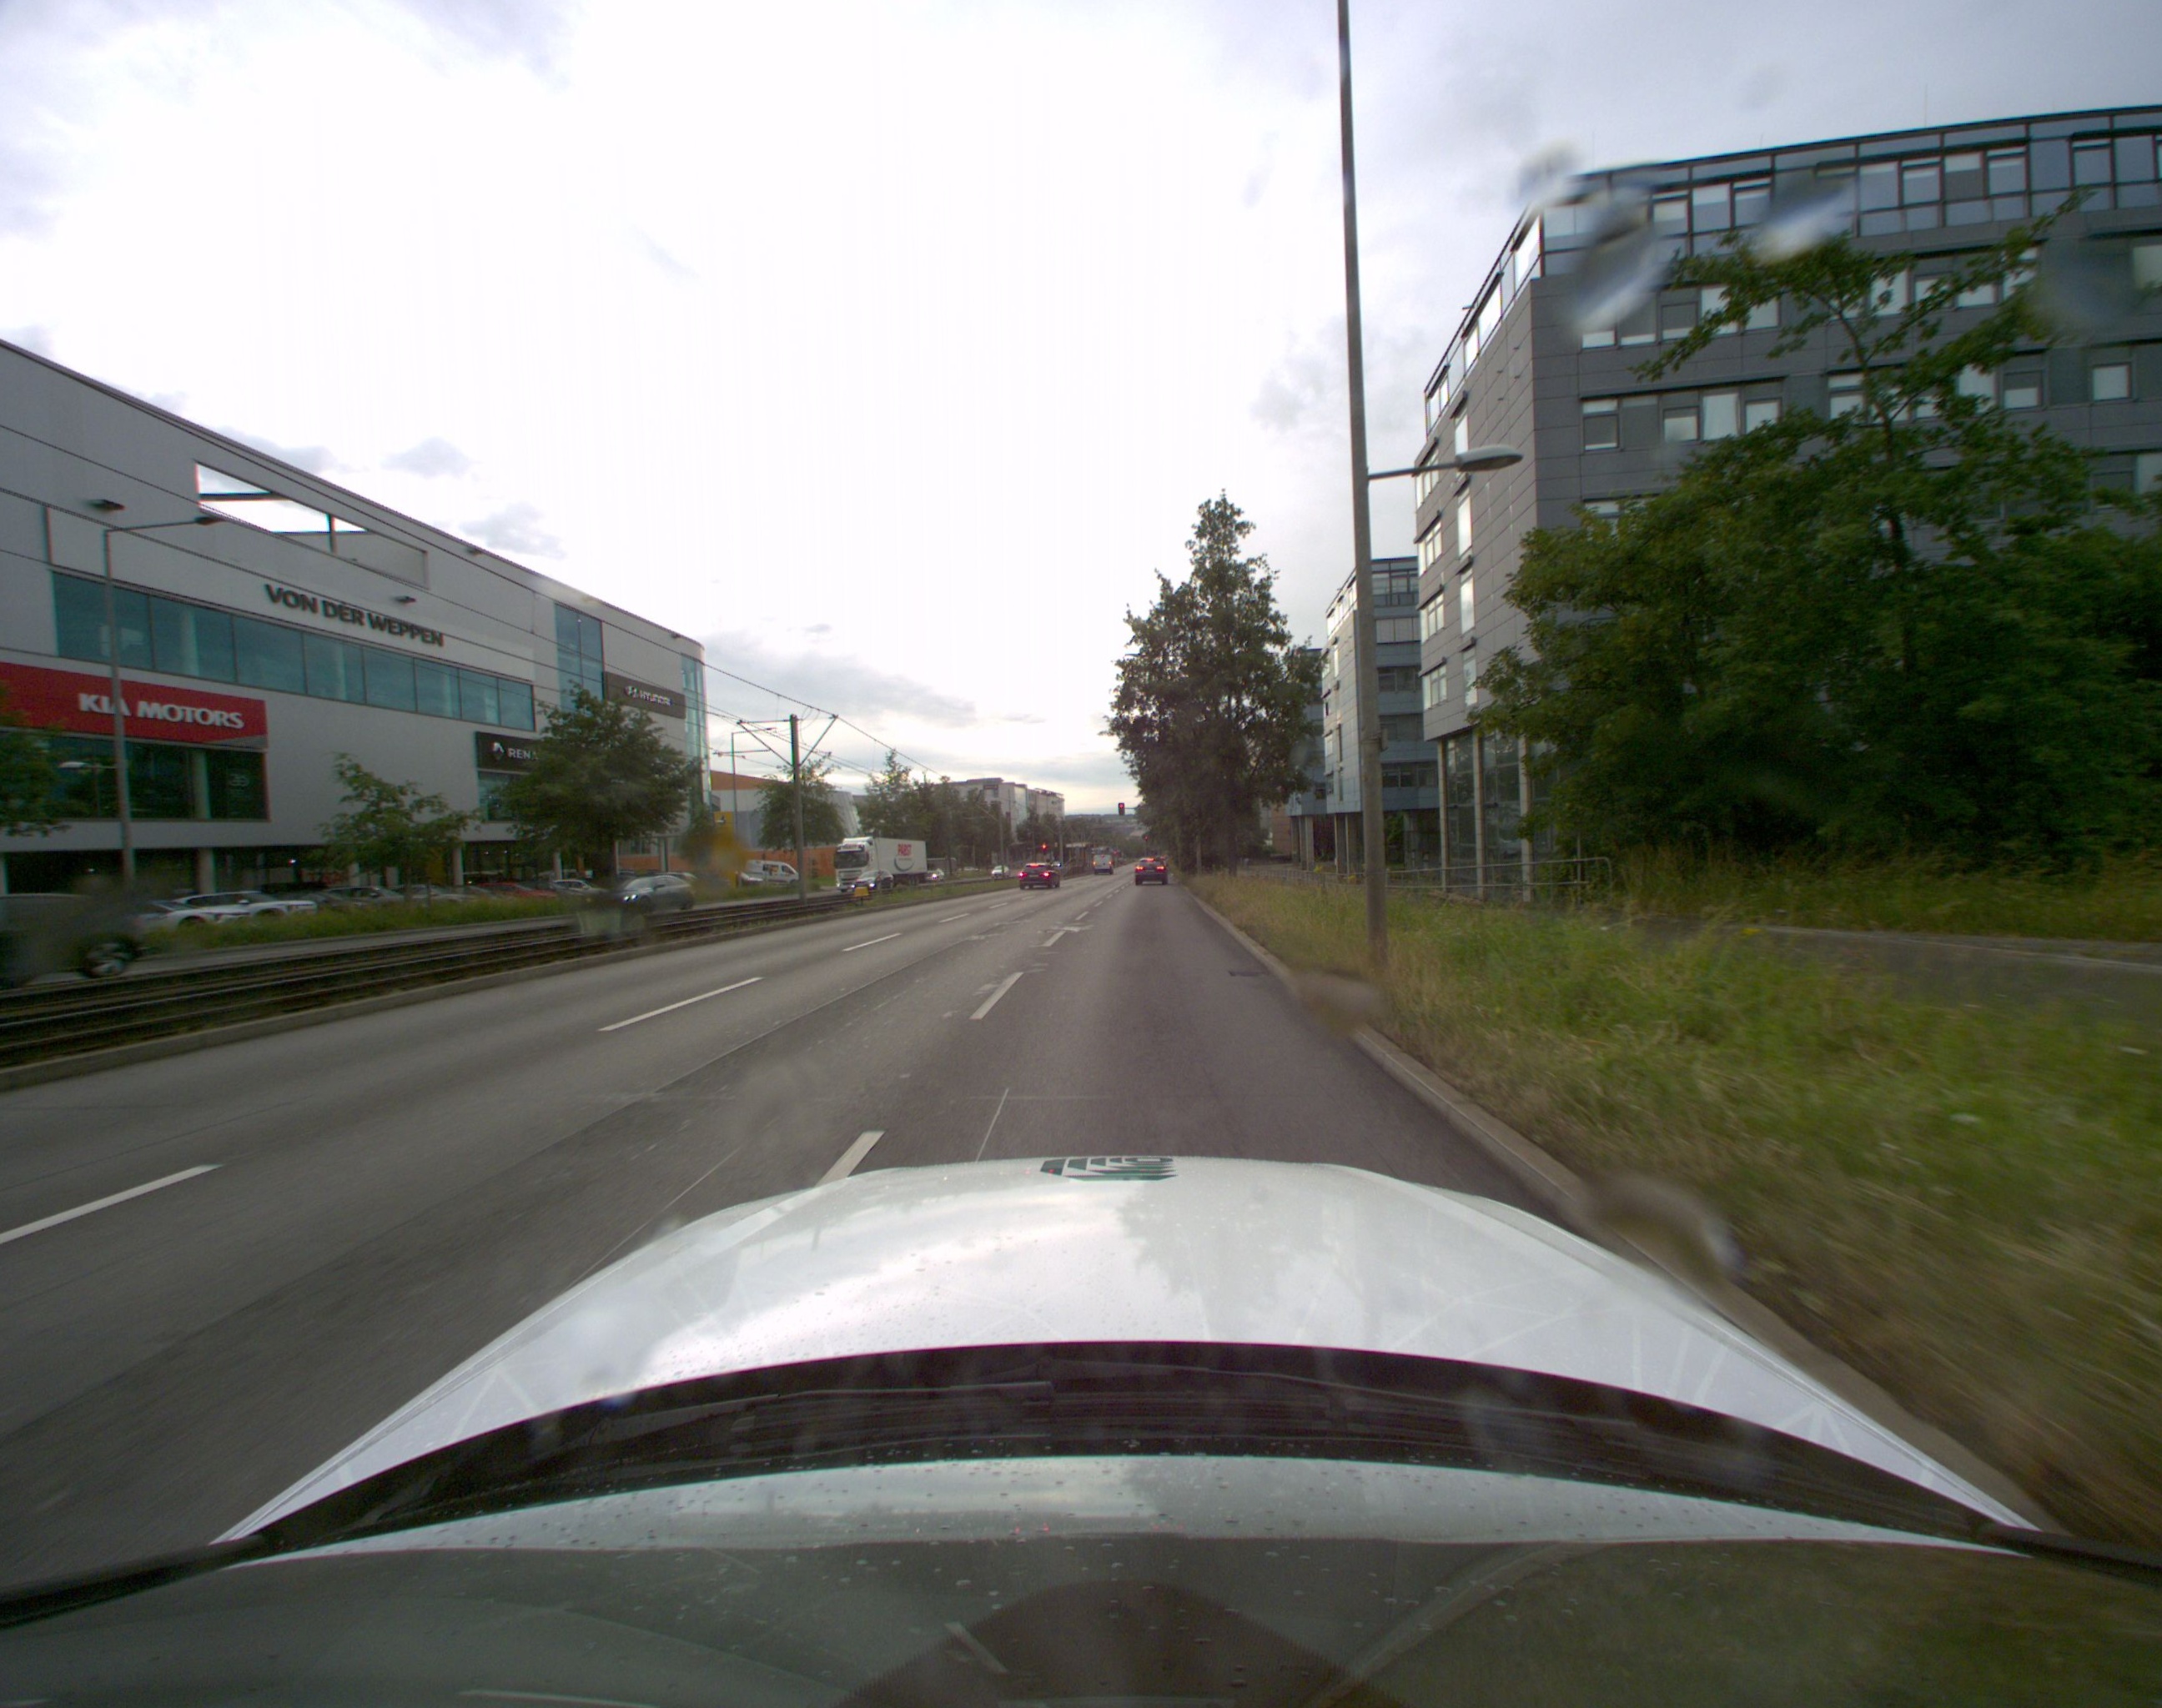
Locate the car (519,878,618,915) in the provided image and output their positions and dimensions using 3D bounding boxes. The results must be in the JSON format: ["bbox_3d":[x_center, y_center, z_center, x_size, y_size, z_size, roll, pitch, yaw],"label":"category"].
[{"bbox_3d":[-31.275,2.586,49.818,4.599,1.976,2.014,-2,-1,-8],"label":"car"}]

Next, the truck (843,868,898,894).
[{"bbox_3d":[-14.341,1.801,55.734,1.931,1.568,4.554,-4,-1,8],"label":"truck"}]

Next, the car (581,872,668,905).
[{"bbox_3d":[-30.731,2.282,54.926,4.589,1.976,2.018,-2,-1,-2],"label":"car"}]

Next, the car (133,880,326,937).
[{"bbox_3d":[-32.215,2.012,30.990,4.632,1.827,2.009,-2,-1,-16],"label":"car"}]

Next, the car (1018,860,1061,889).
[{"bbox_3d":[-2.297,1.084,45.797,1.778,1.413,4.812,-1,1,4],"label":"car"}]

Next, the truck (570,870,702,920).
[{"bbox_3d":[-16.015,1.415,29.623,1.933,1.568,4.598,-4,-1,4],"label":"truck"}]

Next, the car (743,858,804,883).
[{"bbox_3d":[-29.849,1.625,79.246,5.309,2.313,2.011,-1,-1,-13],"label":"car"}]

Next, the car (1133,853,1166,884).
[{"bbox_3d":[4.149,0.869,49.919,1.914,1.710,4.102,-1,1,3],"label":"car"}]

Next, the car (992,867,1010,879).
[{"bbox_3d":[-10.022,2.326,102.206,1.655,1.442,3.901,-1,-1,4],"label":"car"}]

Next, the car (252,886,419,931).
[{"bbox_3d":[-32.971,2.374,36.204,5.013,1.654,2.009,-2,-1,-16],"label":"car"}]

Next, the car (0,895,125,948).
[{"bbox_3d":[-37.584,2.417,28.682,4.654,1.664,1.999,-2,-1,-33],"label":"car"}]

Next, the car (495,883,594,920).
[{"bbox_3d":[-31.072,2.706,47.282,4.345,1.864,1.876,-2,-1,-11],"label":"car"}]

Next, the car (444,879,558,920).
[{"bbox_3d":[-31.719,2.458,44.699,4.611,1.976,2.009,-2,-1,-16],"label":"car"}]

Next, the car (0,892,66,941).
[{"bbox_3d":[-45.613,2.645,33.355,1.988,1.910,4.843,-1,0,-1],"label":"car"}]

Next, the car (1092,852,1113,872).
[{"bbox_3d":[2.483,0.919,95.637,2.260,2.284,4.759,-1,1,0],"label":"car"}]

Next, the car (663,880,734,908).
[{"bbox_3d":[-30.228,3.129,64.468,4.589,1.976,2.018,-2,-1,-2],"label":"car"}]

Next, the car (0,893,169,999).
[{"bbox_3d":[-16.466,1.382,11.771,1.660,1.462,4.241,-1,-1,3],"label":"car"}]

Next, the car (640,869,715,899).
[{"bbox_3d":[-30.412,2.252,61.485,4.589,1.976,2.018,-2,-1,-2],"label":"car"}]

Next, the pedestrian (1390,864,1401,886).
[{"bbox_3d":[19.941,1.346,51.658,0.500,1.408,0.458,-1,-1,5],"label":"pedestrian"}]

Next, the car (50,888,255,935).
[{"bbox_3d":[-32.158,1.958,28.358,4.331,1.307,1.862,-2,-1,-16],"label":"car"}]

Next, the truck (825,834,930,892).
[{"bbox_3d":[-16.433,0.591,68.059,3.028,4.180,17.225,-1,0,5],"label":"truck"}]

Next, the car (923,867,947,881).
[{"bbox_3d":[-16.519,2.286,92.392,1.654,1.544,3.903,-1,-1,6],"label":"car"}]
